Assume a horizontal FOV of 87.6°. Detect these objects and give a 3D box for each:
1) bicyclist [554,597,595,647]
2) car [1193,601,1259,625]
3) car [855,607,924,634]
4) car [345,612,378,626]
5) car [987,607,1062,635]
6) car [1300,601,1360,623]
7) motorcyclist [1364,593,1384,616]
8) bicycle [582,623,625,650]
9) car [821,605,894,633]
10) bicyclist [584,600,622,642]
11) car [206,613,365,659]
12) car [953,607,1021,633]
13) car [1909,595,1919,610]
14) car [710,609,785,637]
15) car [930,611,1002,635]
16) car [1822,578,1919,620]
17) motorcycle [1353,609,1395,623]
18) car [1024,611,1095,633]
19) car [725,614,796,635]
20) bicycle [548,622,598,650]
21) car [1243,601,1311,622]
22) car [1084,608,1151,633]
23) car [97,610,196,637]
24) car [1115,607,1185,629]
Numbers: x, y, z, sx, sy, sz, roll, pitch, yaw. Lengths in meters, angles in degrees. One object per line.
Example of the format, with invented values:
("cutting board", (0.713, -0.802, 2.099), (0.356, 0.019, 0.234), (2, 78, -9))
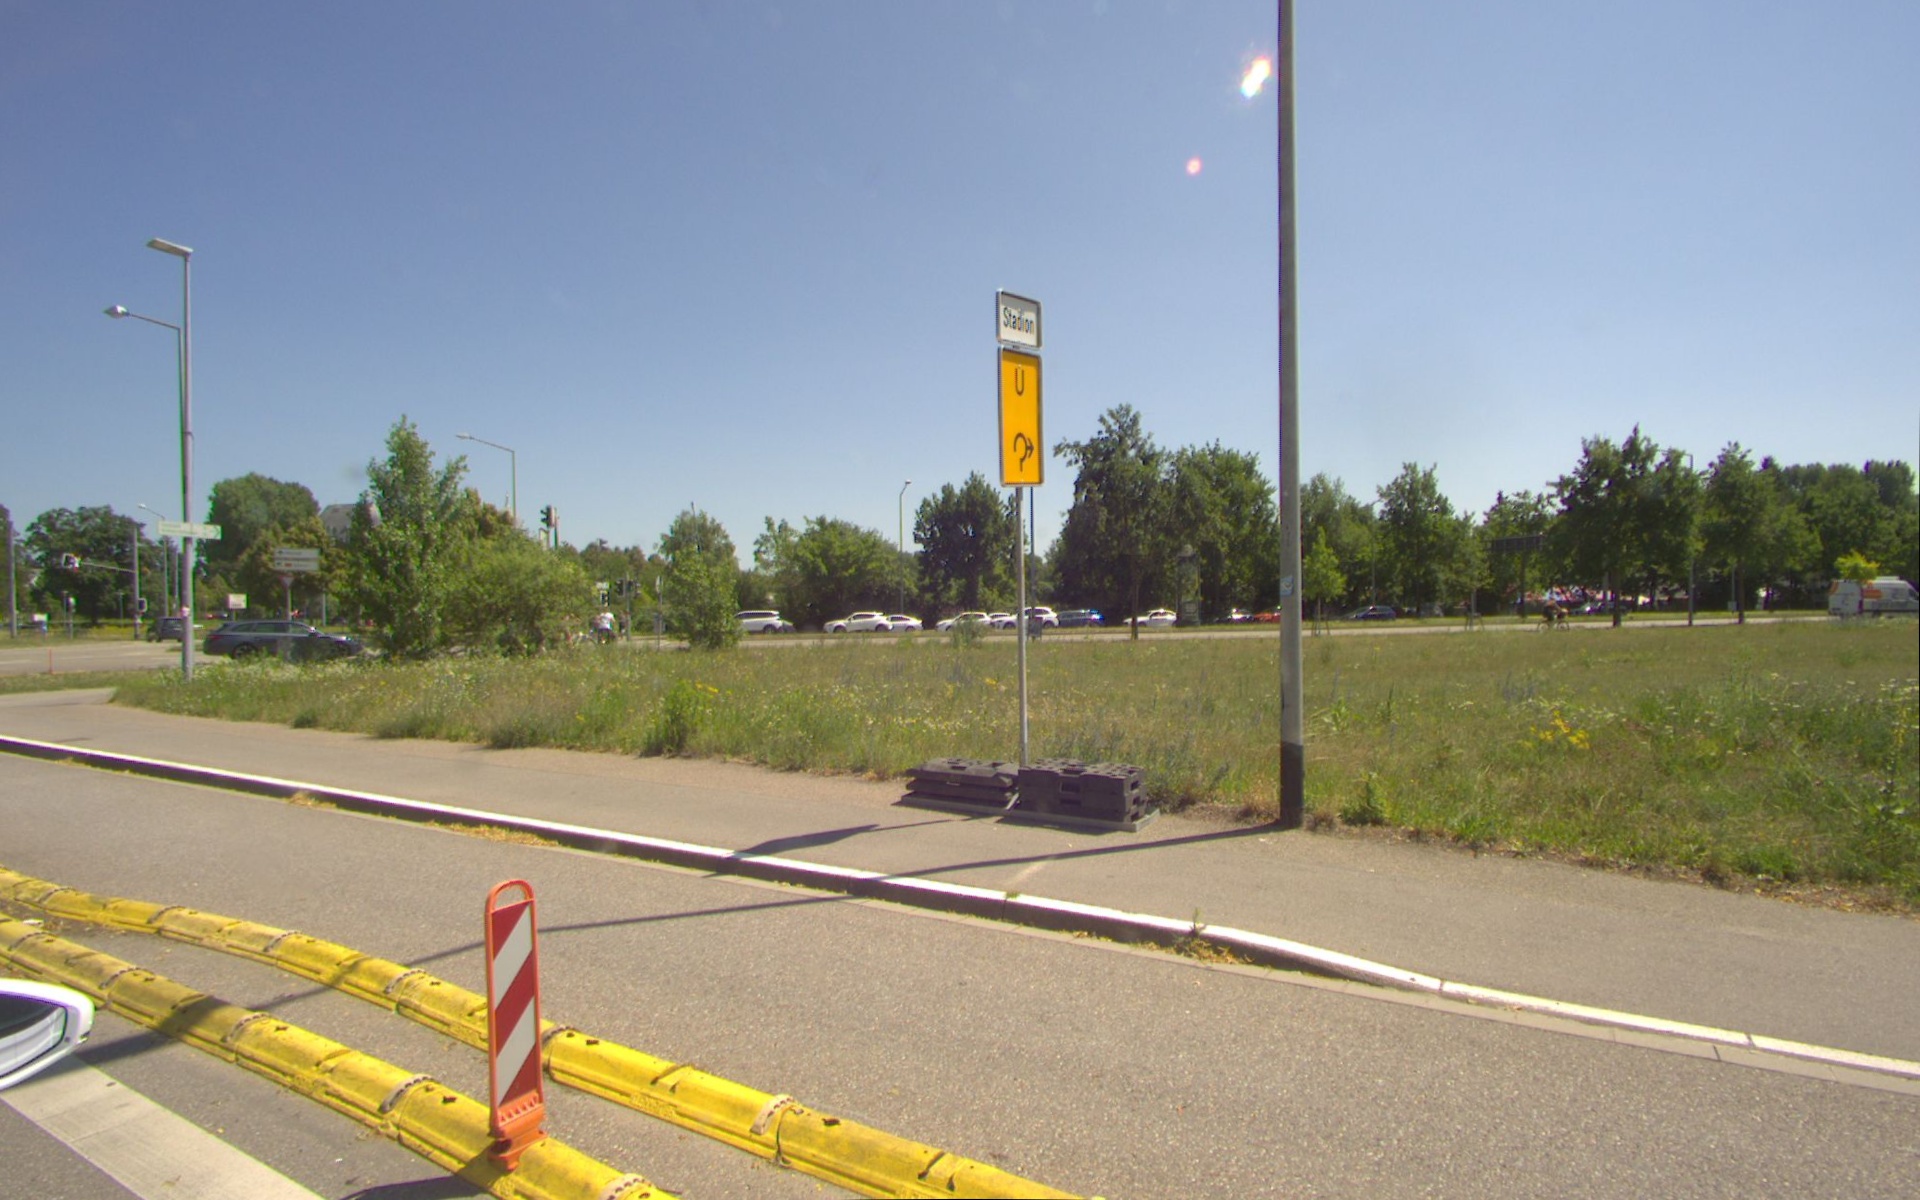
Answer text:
("bicyclist", (-12.903, 0.740, 33.582), (0.941, 1.630, 1.186), (0, -1, -2))
("car", (19.515, 0.963, 73.401), (4.329, 1.705, 1.861), (0, 0, -16))
("car", (-4.679, 1.356, 66.240), (4.329, 1.705, 1.861), (0, 0, -16))
("car", (-88.445, 2.846, 148.032), (3.931, 2.039, 1.996), (1, -2, -19))
("car", (4.011, 1.307, 62.653), (4.329, 1.705, 1.861), (0, 0, -16))
("car", (26.714, 0.863, 72.313), (3.730, 1.493, 1.718), (0, -2, -17))
("motorcyclist", (30.131, 0.324, 72.965), (0.992, 1.606, 0.908), (0, -1, -14))
("bicycle", (-13.384, 1.371, 37.646), (0.881, 0.912, 1.762), (1, 1, 4))
("car", (-6.444, 1.148, 62.748), (4.329, 1.705, 1.861), (0, 0, -16))
("bicyclist", (-13.417, 0.781, 37.712), (0.941, 1.552, 1.185), (0, 1, 3))
("car", (-23.418, 1.197, 34.854), (4.405, 1.437, 1.983), (0, 0, -40))
("car", (1.839, 1.372, 68.285), (4.329, 1.705, 1.861), (0, 0, -16))
("car", (90.669, 0.230, 92.939), (4.329, 1.441, 1.861), (0, 0, -16))
("car", (-12.883, 1.344, 60.558), (4.329, 1.639, 1.861), (0, 0, -16))
("car", (0.374, 1.473, 64.739), (4.329, 1.441, 1.861), (0, 0, -16))
("car", (59.236, -0.031, 64.798), (6.281, 2.623, 2.260), (0, -2, -17))
("motorcycle", (30.166, 1.175, 72.961), (2.764, 0.964, 0.897), (0, -2, -13))
("car", (6.609, 1.434, 66.463), (4.329, 1.441, 1.861), (0, 0, -16))
("car", (-12.711, 1.560, 63.838), (4.329, 1.287, 1.861), (0, 0, -16))
("bicycle", (-12.929, 1.194, 33.533), (0.881, 0.912, 2.227), (1, -1, -2))
("car", (22.597, 0.826, 71.351), (4.329, 1.441, 1.861), (0, 0, -16))
("car", (11.206, 1.461, 71.150), (4.329, 1.705, 1.861), (0, 0, -16))
("car", (-45.496, 1.336, 56.091), (3.922, 1.482, 2.001), (0, -2, 1))
("car", (12.991, 1.239, 68.394), (4.329, 1.441, 1.861), (0, 0, -16))
